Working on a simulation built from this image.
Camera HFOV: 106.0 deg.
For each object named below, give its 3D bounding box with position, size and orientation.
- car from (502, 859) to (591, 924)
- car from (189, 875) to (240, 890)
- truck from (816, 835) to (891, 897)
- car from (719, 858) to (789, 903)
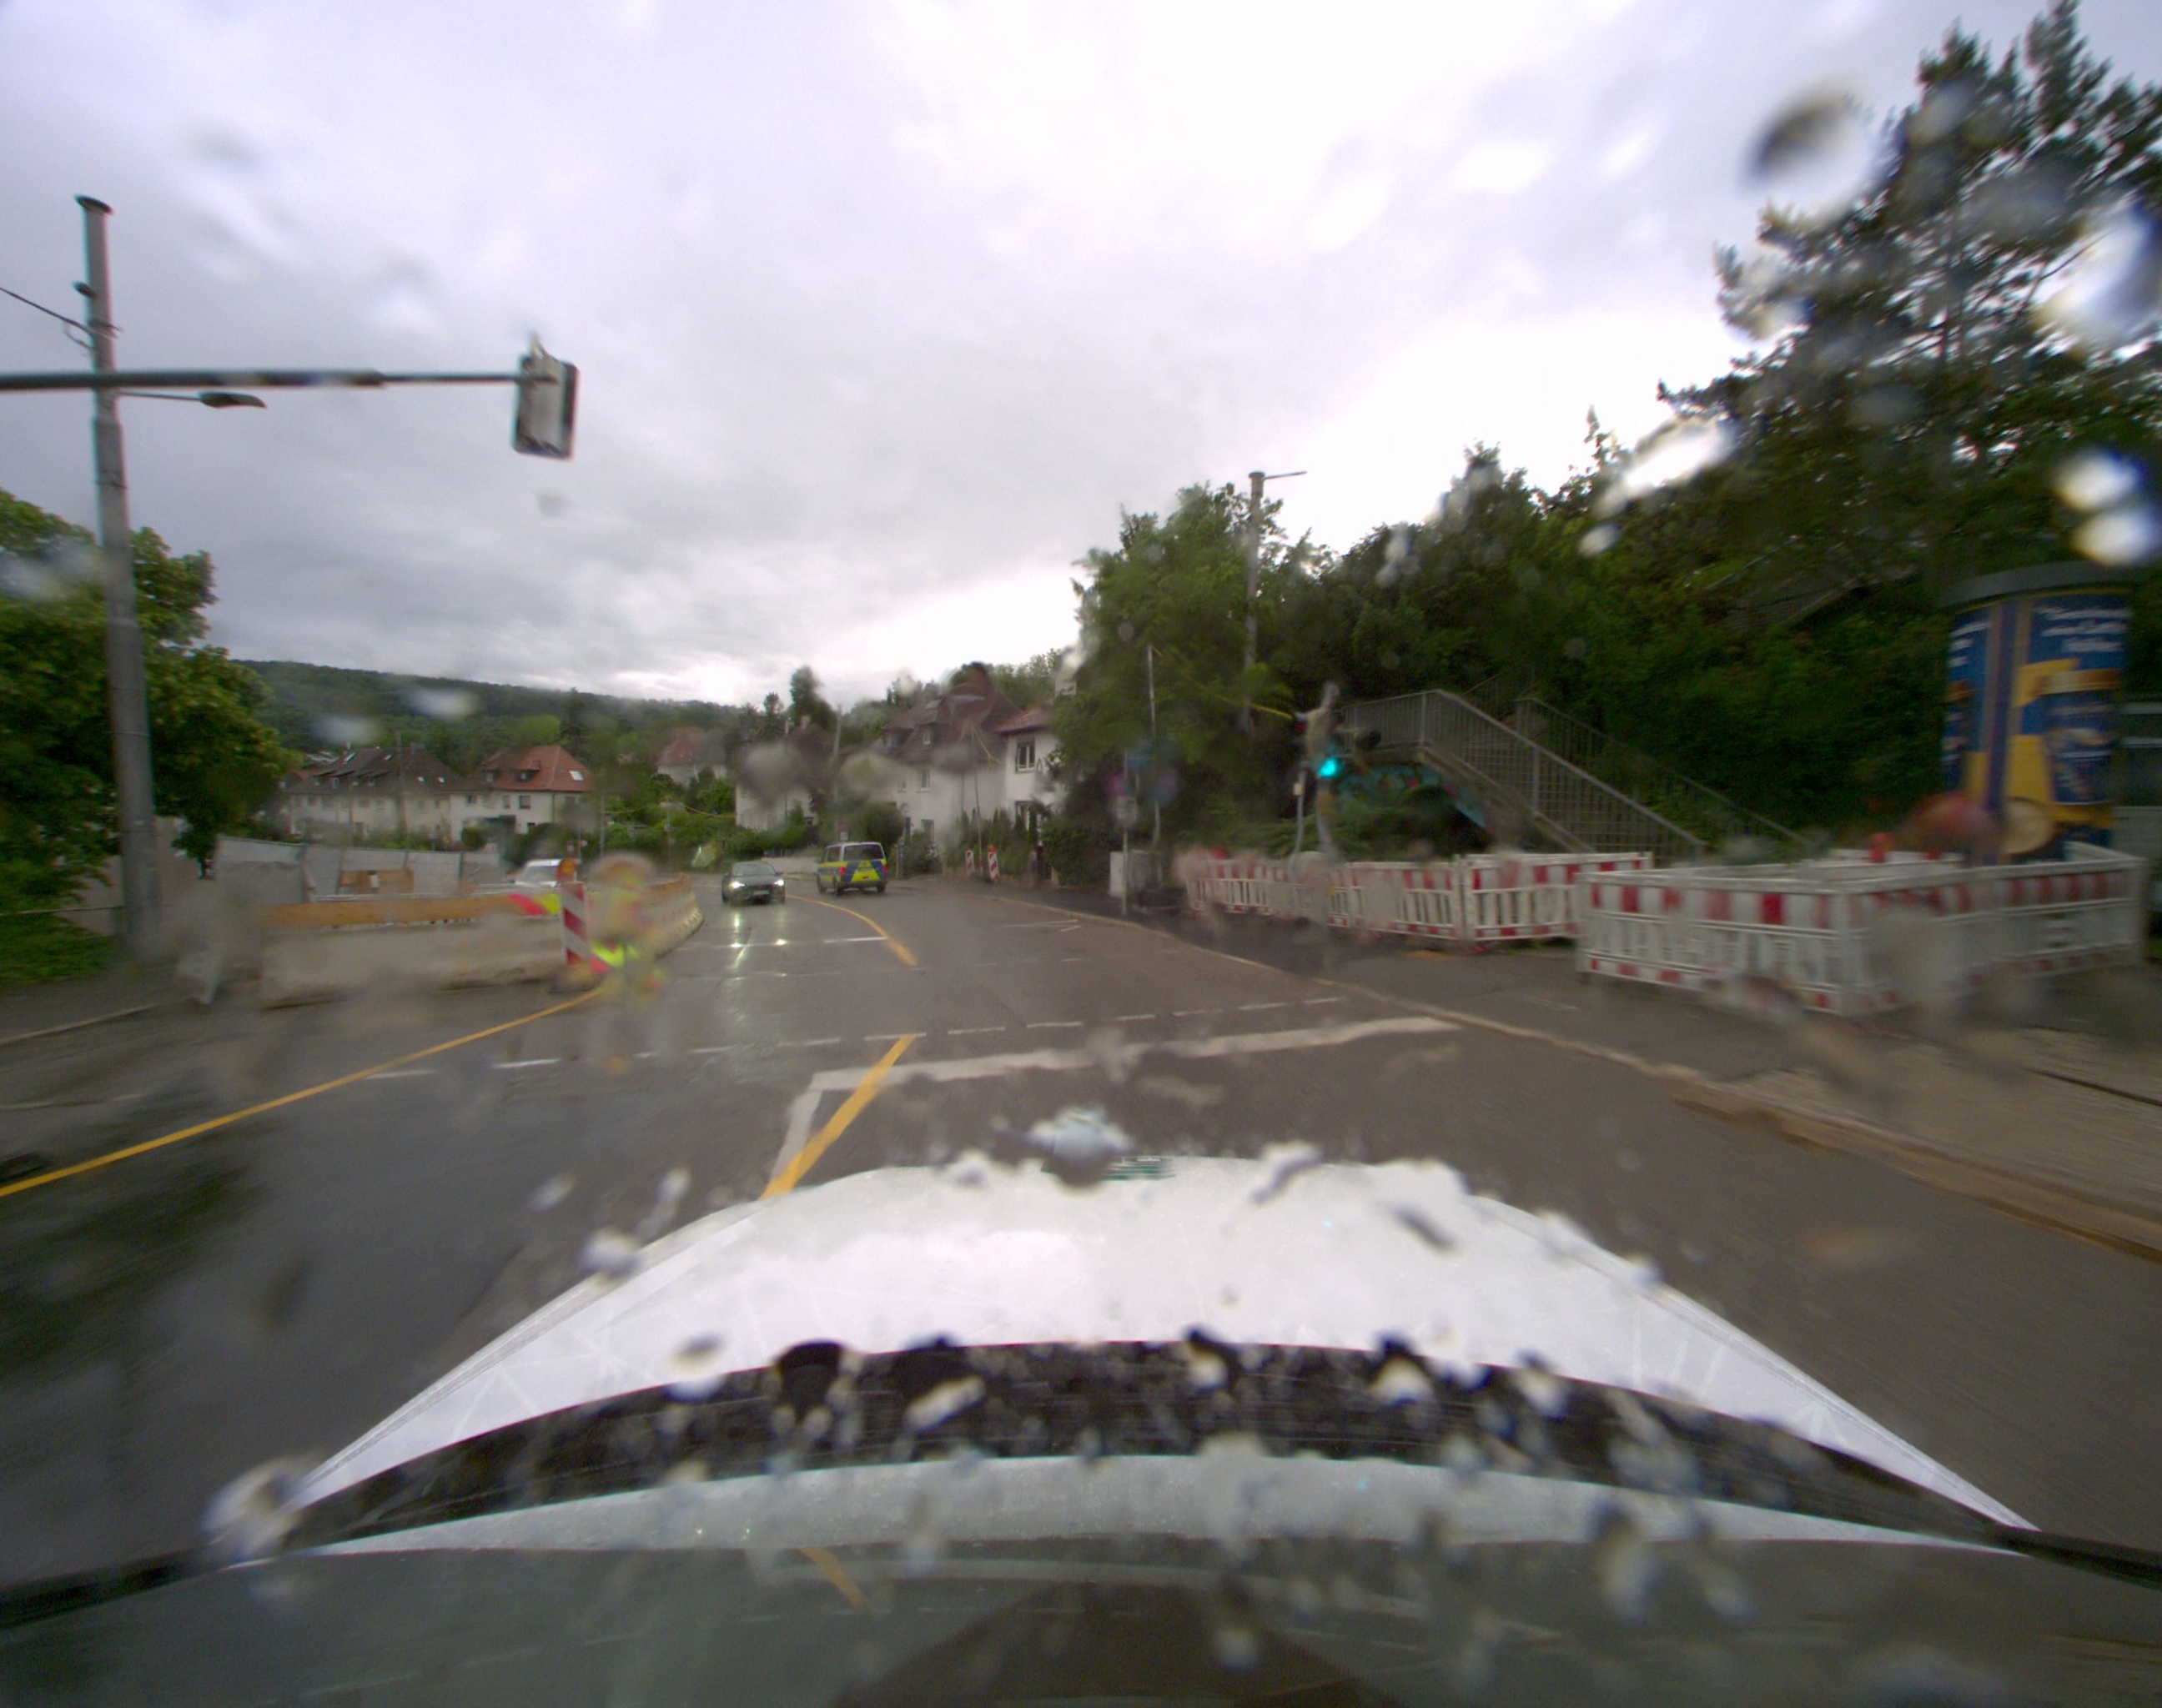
[{"bbox_3d":[-18.035,1.182,27.680,2.005,2.014,4.764,1,-1,-27],"label":"car"},{"bbox_3d":[-90.634,2.971,85.173,3.956,1.376,2.009,-2,1,17],"label":"car"},{"bbox_3d":[-9.040,0.380,32.028,2.004,2.013,4.696,-2,4,-26],"label":"truck"},{"bbox_3d":[-11.632,0.886,28.836,1.794,1.403,4.325,-1,0,-29],"label":"car"}]
